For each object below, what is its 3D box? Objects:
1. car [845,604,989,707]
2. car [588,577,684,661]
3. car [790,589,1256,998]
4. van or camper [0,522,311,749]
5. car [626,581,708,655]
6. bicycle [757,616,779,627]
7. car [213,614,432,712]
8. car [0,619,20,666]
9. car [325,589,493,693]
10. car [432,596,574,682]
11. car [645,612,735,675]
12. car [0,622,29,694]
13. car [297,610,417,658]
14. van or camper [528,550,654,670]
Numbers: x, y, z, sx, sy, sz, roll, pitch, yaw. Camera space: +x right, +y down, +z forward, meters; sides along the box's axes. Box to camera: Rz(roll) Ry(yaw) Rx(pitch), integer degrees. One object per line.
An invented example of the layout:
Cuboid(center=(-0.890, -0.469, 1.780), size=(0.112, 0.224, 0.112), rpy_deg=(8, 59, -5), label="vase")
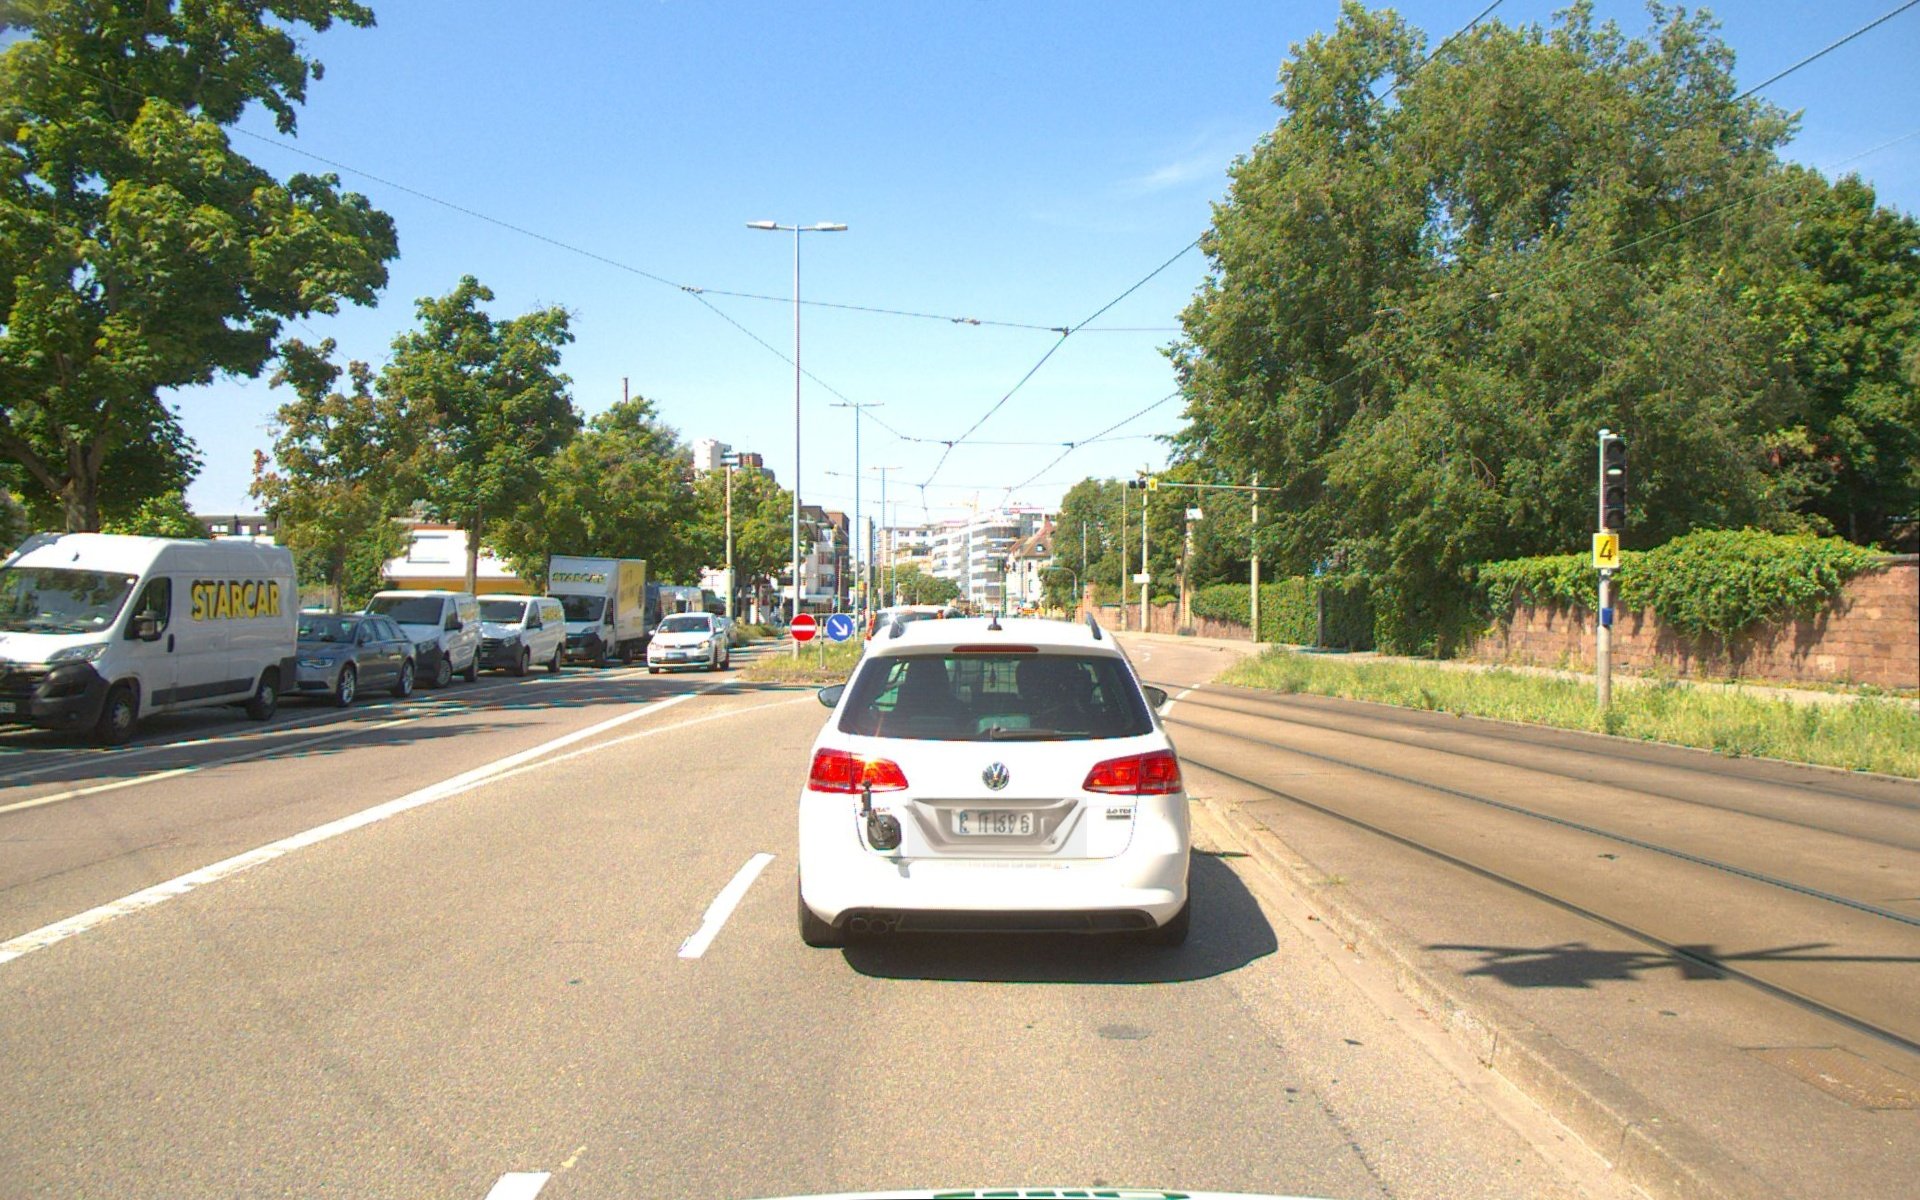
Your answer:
Cuboid(center=(-0.662, 0.909, 28.632), size=(1.693, 1.624, 4.014), rpy_deg=(1, 0, 10), label="car")
Cuboid(center=(-11.193, 0.643, 57.610), size=(2.151, 2.715, 6.078), rpy_deg=(2, 0, -1), label="car")
Cuboid(center=(0.229, 0.749, 8.238), size=(1.742, 1.516, 3.846), rpy_deg=(1, 0, -1), label="car")
Cuboid(center=(-10.885, 0.430, 21.784), size=(2.211, 2.559, 6.147), rpy_deg=(-1, 0, 0), label="van or camper")
Cuboid(center=(-11.317, 0.682, 64.323), size=(2.151, 2.677, 5.977), rpy_deg=(2, 0, -1), label="car")
Cuboid(center=(-16.671, 1.859, 143.634), size=(0.543, 0.937, 2.164), rpy_deg=(-1, -1, 42), label="bicycle")
Cuboid(center=(-10.649, 0.994, 28.050), size=(1.893, 1.480, 4.884), rpy_deg=(-1, 0, -1), label="car")
Cuboid(center=(-33.684, 1.433, 54.892), size=(3.909, 1.571, 1.784), rpy_deg=(-1, 0, -5), label="car")
Cuboid(center=(-11.321, 0.797, 34.364), size=(2.153, 1.975, 5.179), rpy_deg=(-1, 0, -5), label="car")
Cuboid(center=(-11.301, 0.922, 41.305), size=(2.151, 1.975, 5.184), rpy_deg=(-1, 0, -1), label="car")
Cuboid(center=(-6.717, 1.057, 41.456), size=(1.693, 1.491, 3.998), rpy_deg=(0, 0, -2), label="car")
Cuboid(center=(-21.192, 1.180, 33.260), size=(3.906, 1.434, 1.732), rpy_deg=(-1, 0, -2), label="car")
Cuboid(center=(-22.747, 1.282, 62.477), size=(3.907, 1.724, 1.662), rpy_deg=(-1, -1, -3), label="car")
Cuboid(center=(-10.959, 0.309, 49.688), size=(2.151, 3.298, 6.771), rpy_deg=(2, 0, 0), label="van or camper")
